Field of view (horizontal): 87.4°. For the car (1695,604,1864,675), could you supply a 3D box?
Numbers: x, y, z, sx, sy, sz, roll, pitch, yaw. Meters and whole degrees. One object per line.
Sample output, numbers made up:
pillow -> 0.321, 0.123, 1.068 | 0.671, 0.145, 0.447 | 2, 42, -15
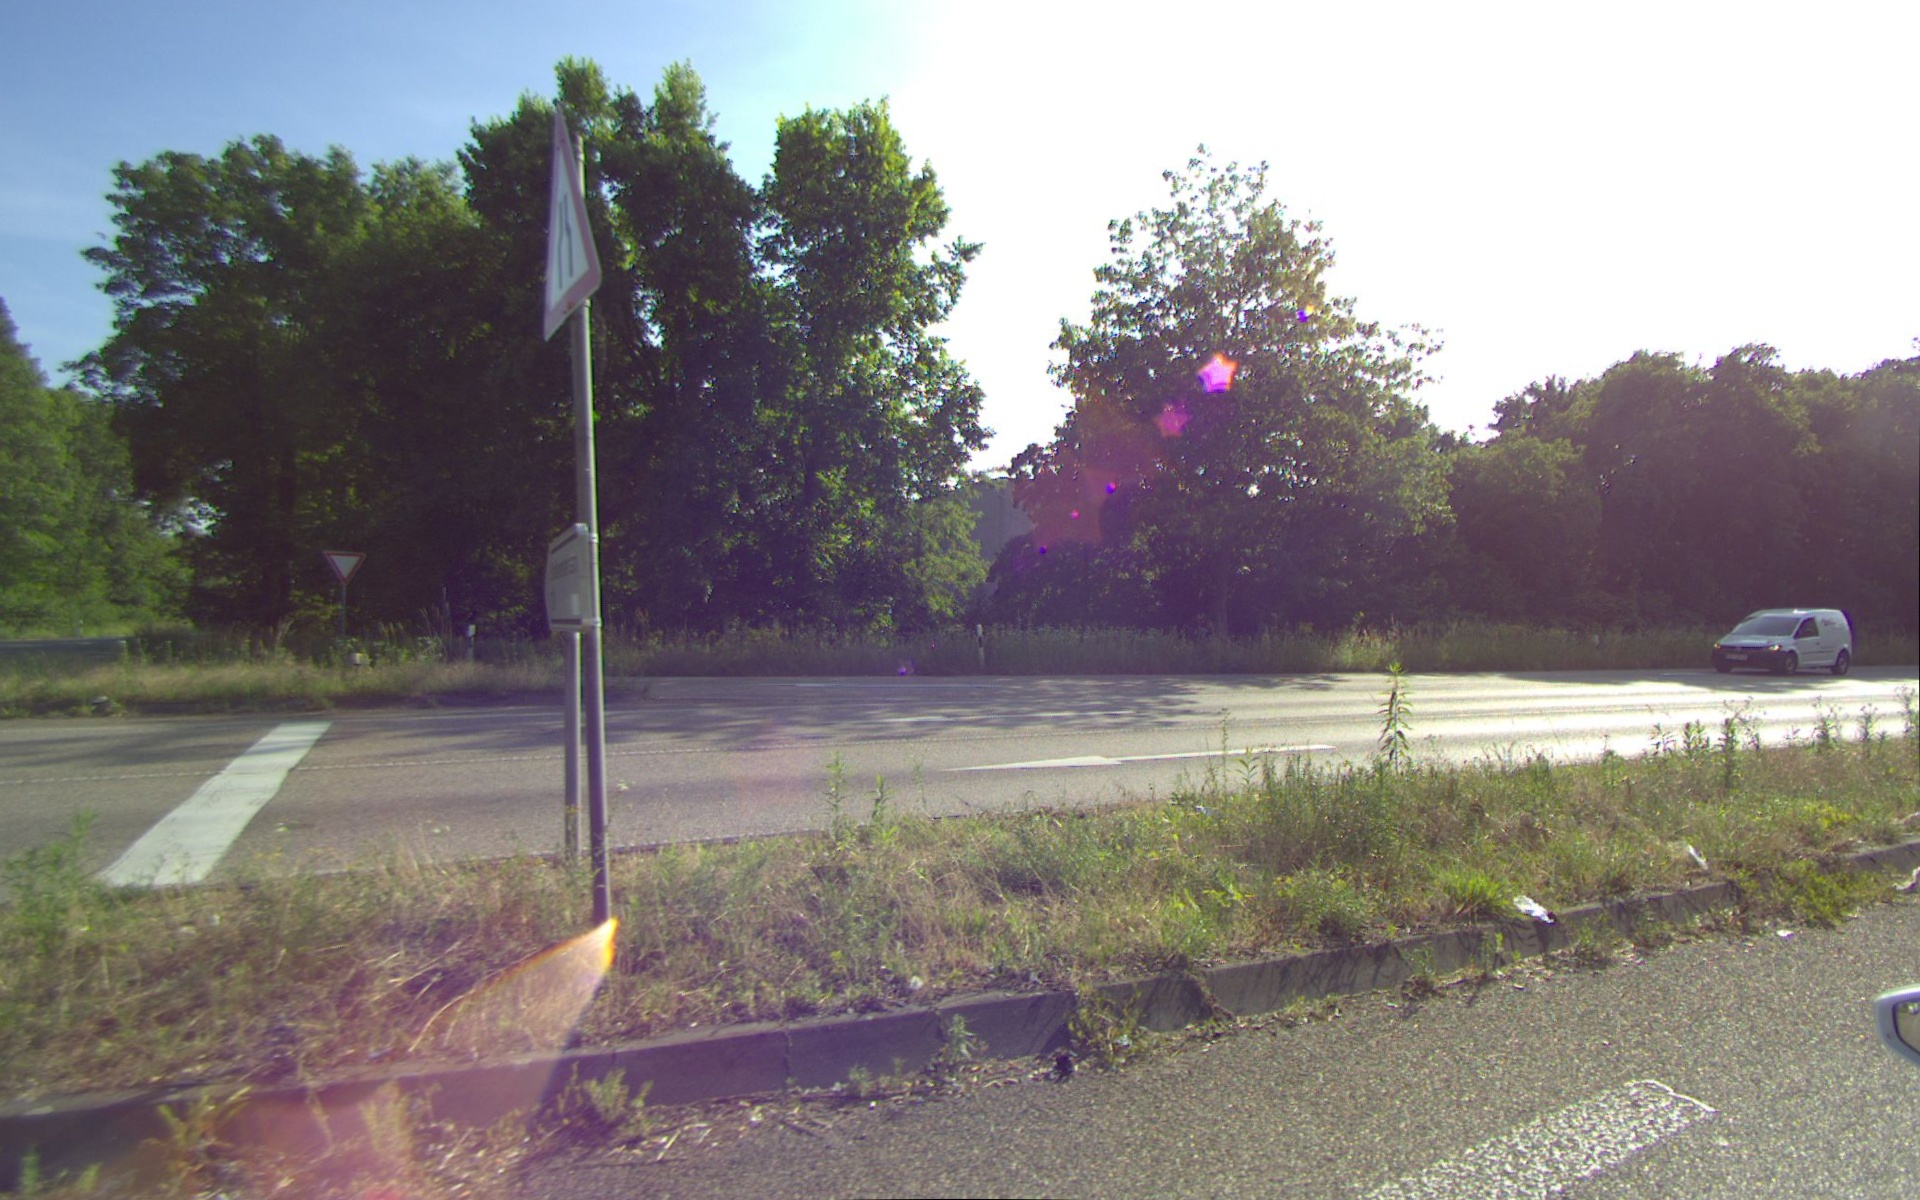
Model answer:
car -> 23.254, 1.121, 28.481 | 4.606, 1.810, 1.845 | 3, 0, -25

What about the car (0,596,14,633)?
car -> -46.748, 0.678, 46.936 | 2.103, 1.750, 4.628 | 2, 0, -22
